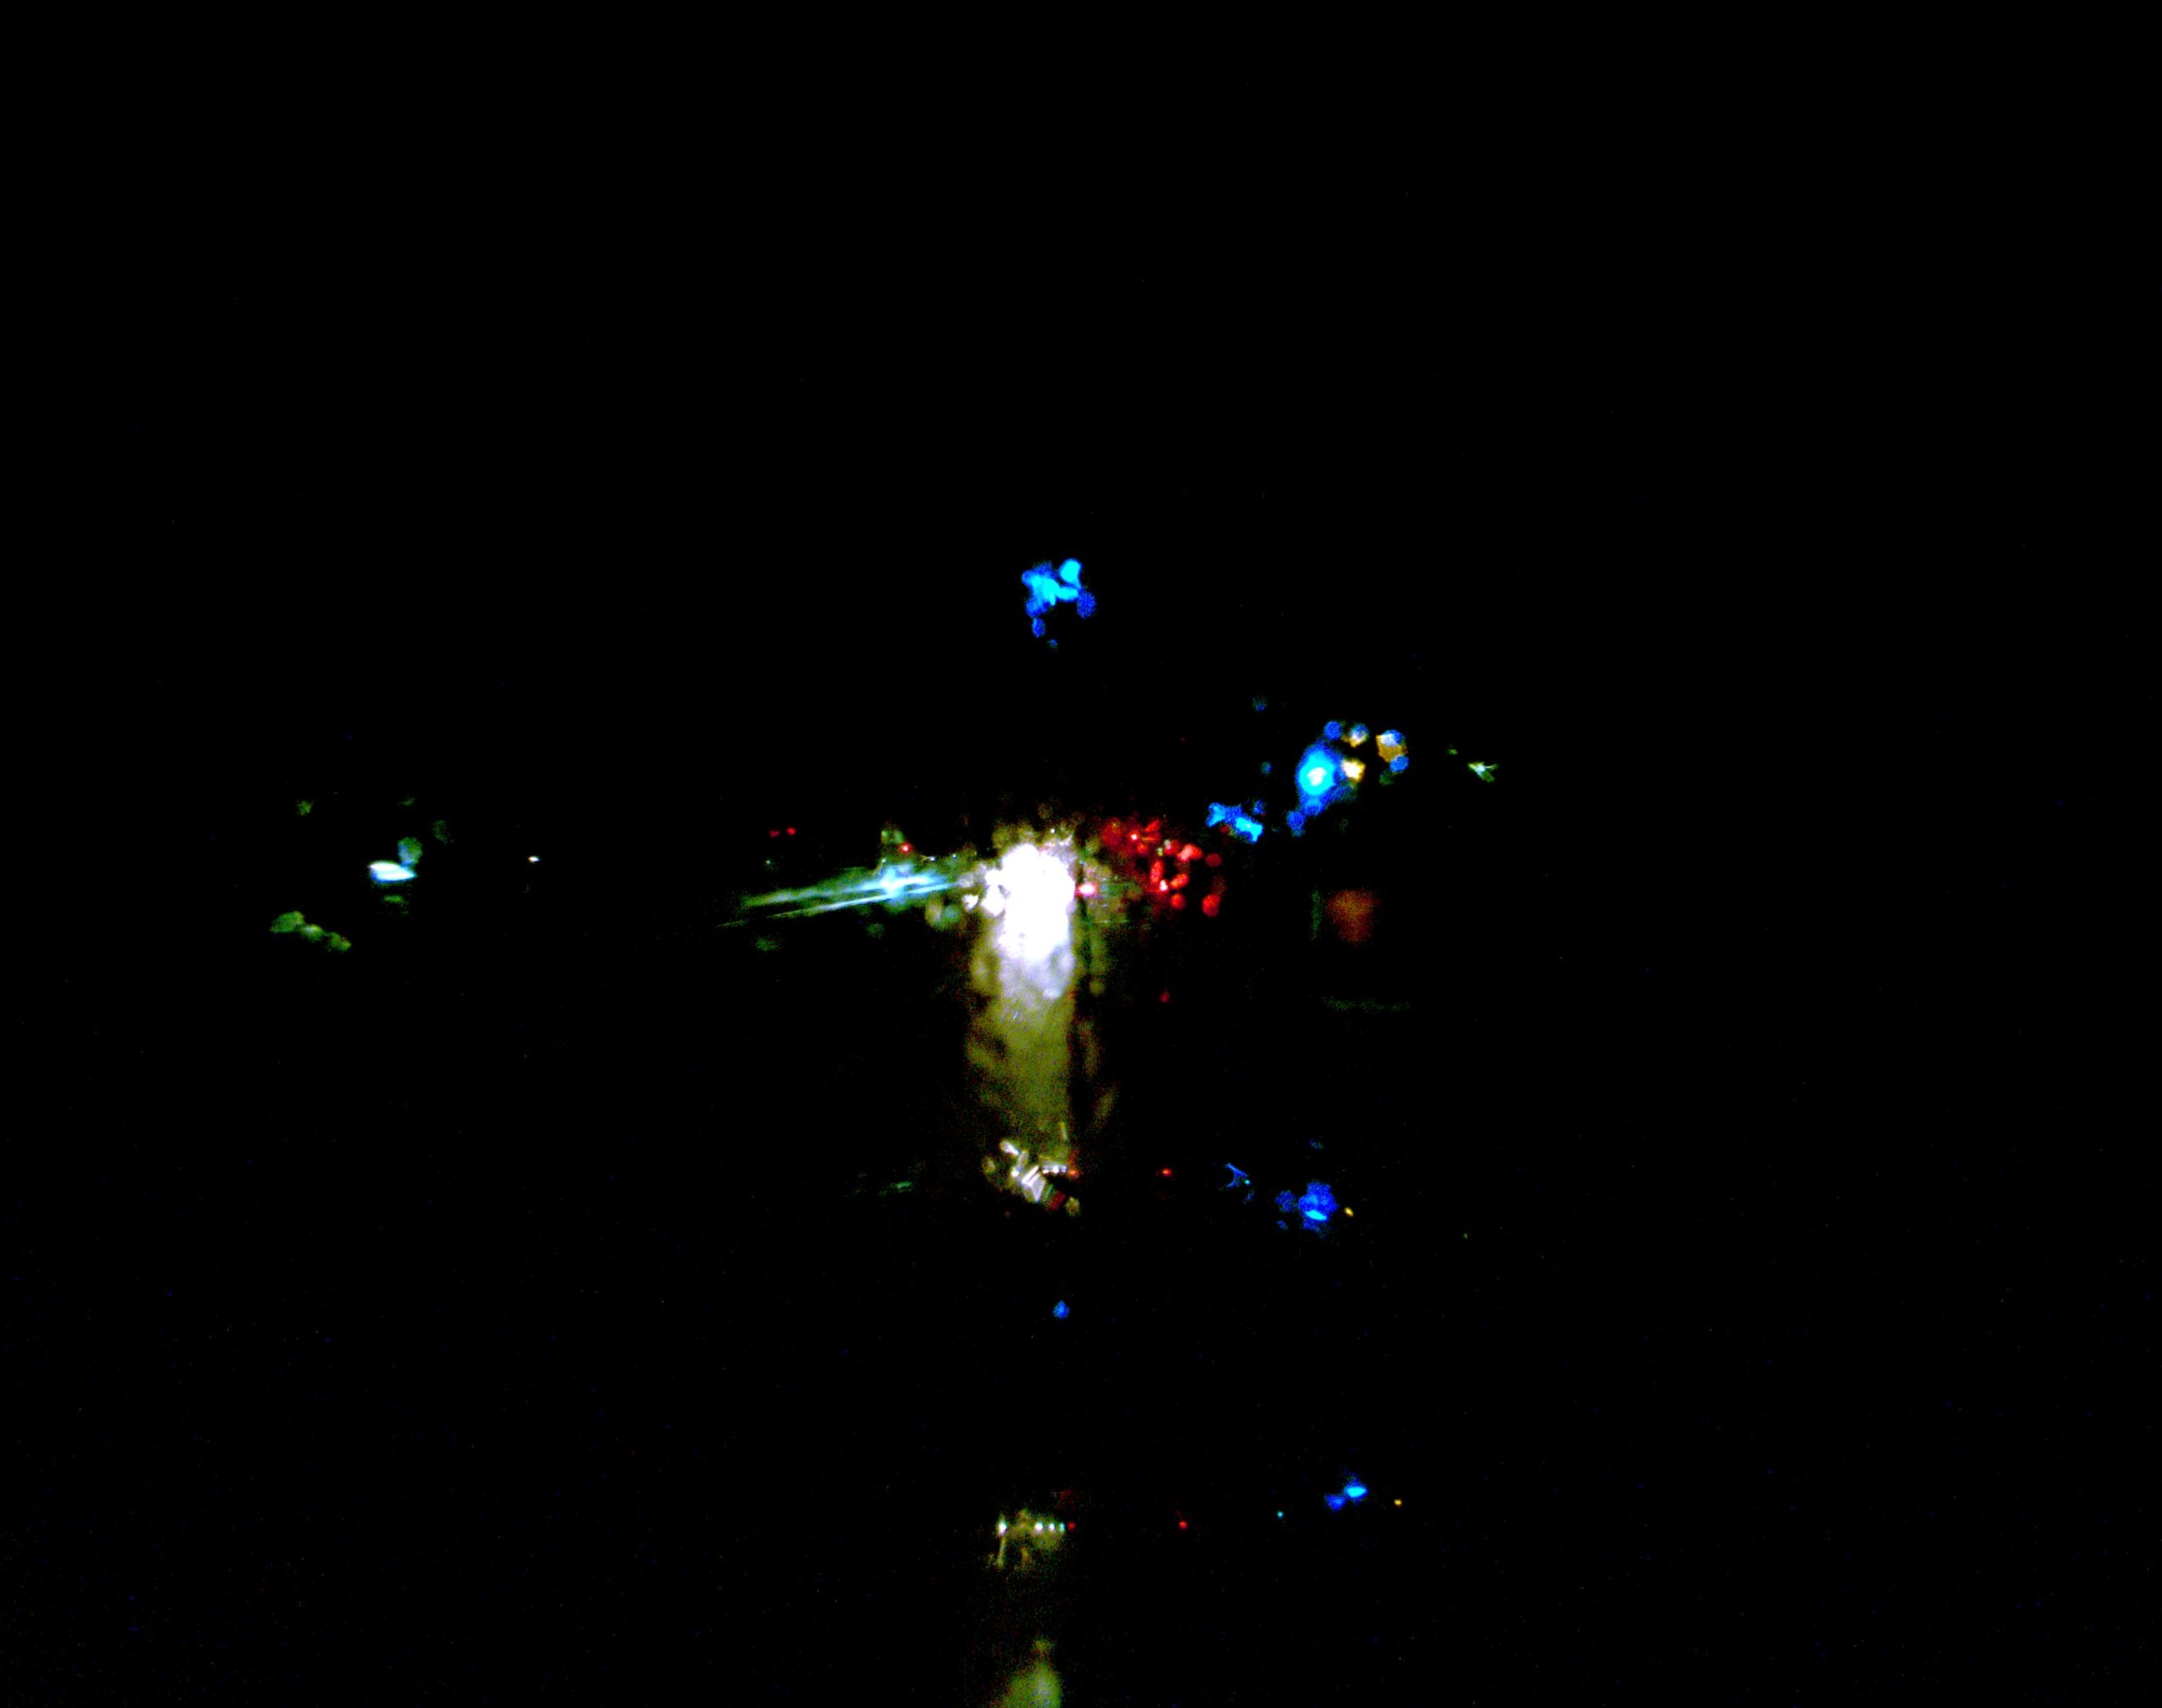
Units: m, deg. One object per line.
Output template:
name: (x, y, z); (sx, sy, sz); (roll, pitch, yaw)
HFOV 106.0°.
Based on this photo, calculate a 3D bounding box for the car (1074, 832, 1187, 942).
car: (0.802, 0.527, 14.965); (1.769, 1.712, 4.000); (-1, 0, 0)

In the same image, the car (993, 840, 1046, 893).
car: (-2.494, 0.564, 33.713); (1.989, 2.014, 3.995); (-2, -2, -3)
